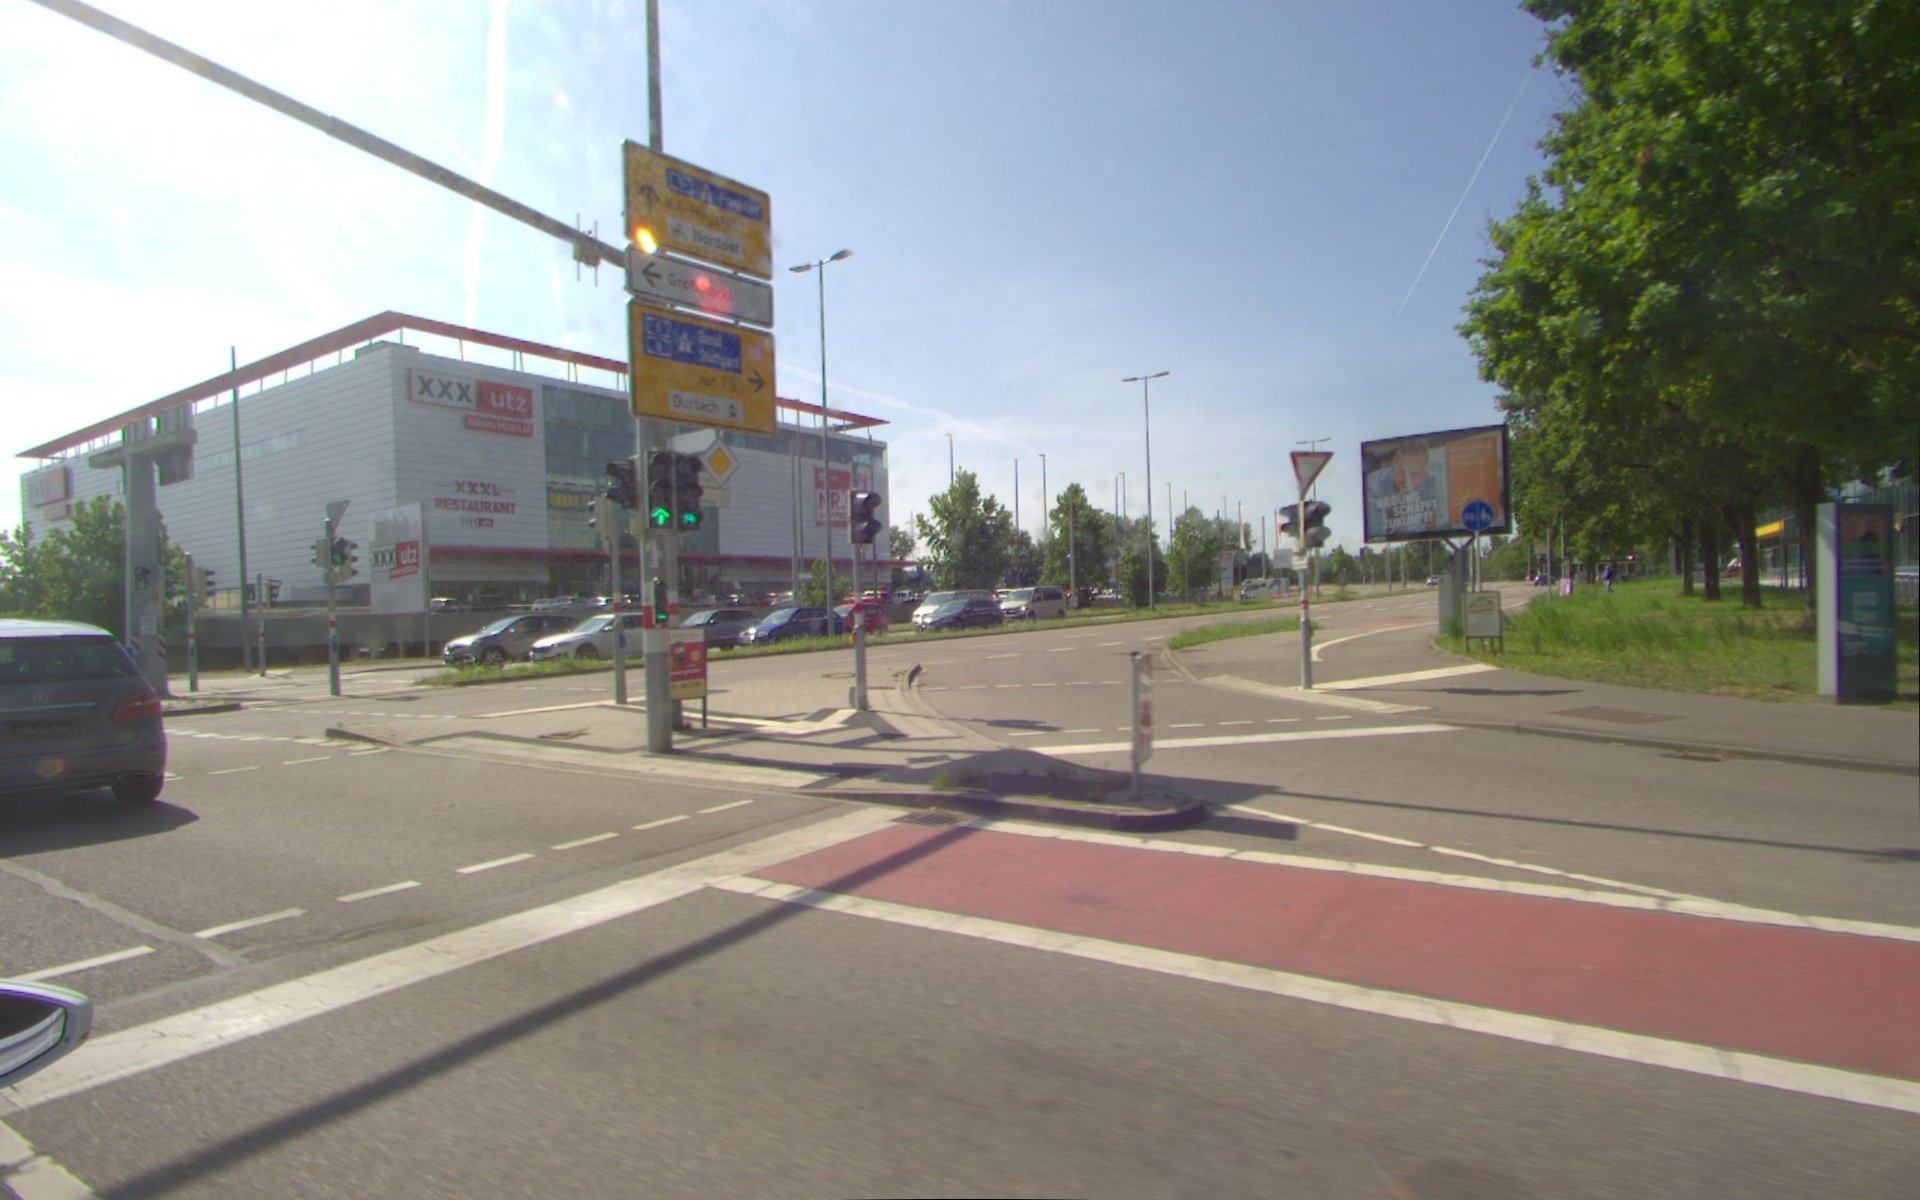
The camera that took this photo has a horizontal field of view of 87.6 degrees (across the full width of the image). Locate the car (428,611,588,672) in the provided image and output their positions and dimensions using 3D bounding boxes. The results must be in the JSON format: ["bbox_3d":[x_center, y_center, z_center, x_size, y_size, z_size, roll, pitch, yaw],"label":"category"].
[{"bbox_3d":[-13.195,1.179,29.408,1.785,1.579,3.871,-2,0,36],"label":"car"}]

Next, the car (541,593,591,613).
[{"bbox_3d":[-31.633,0.261,80.402,3.951,1.438,1.795,-2,0,33],"label":"car"}]

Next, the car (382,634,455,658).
[{"bbox_3d":[-37.134,3.153,68.784,1.772,1.542,4.108,-2,-2,28],"label":"car"}]

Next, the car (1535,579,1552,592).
[{"bbox_3d":[76.861,-1.880,131.837,1.619,1.555,3.892,-2,0,35],"label":"car"}]

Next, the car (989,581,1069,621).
[{"bbox_3d":[3.662,0.041,52.442,1.890,1.960,4.759,-3,-1,35],"label":"car"}]

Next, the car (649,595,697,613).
[{"bbox_3d":[-25.516,0.385,88.879,4.144,1.438,1.894,-2,0,35],"label":"car"}]

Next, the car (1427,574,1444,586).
[{"bbox_3d":[75.237,-3.125,158.511,1.858,1.706,3.975,-2,2,33],"label":"car"}]

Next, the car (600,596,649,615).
[{"bbox_3d":[-28.509,0.485,84.972,4.144,1.438,1.866,-2,0,35],"label":"car"}]

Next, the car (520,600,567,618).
[{"bbox_3d":[-35.972,0.797,86.455,3.858,1.438,1.682,-2,0,30],"label":"car"}]

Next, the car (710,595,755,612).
[{"bbox_3d":[-21.483,0.361,94.531,4.144,1.438,1.730,-2,0,35],"label":"car"}]

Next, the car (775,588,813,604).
[{"bbox_3d":[-18.218,-0.396,109.685,4.144,1.642,1.679,-2,0,35],"label":"car"}]

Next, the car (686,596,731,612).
[{"bbox_3d":[-23.312,0.372,92.708,4.144,1.438,1.799,-2,0,35],"label":"car"}]

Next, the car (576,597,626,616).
[{"bbox_3d":[-29.538,0.560,82.300,4.144,1.438,1.826,-2,0,35],"label":"car"}]

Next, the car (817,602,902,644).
[{"bbox_3d":[-4.090,0.913,41.208,1.578,1.596,3.457,-1,0,36],"label":"car"}]

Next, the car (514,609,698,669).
[{"bbox_3d":[-10.047,1.083,28.750,1.934,1.444,4.701,-3,-1,35],"label":"car"}]

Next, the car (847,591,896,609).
[{"bbox_3d":[-7.826,0.025,88.634,4.052,1.438,1.783,-2,0,33],"label":"car"}]

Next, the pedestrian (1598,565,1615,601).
[{"bbox_3d":[37.725,-0.982,58.431,0.670,2.039,0.600,-2,-2,19],"label":"pedestrian"}]

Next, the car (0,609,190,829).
[{"bbox_3d":[-8.404,0.897,8.449,4.080,1.559,1.770,-2,-1,33],"label":"car"}]

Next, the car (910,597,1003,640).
[{"bbox_3d":[-0.092,0.750,41.495,1.663,1.641,4.101,-2,0,37],"label":"car"}]

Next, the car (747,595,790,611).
[{"bbox_3d":[-18.985,0.270,98.983,4.144,1.438,1.784,-2,0,35],"label":"car"}]

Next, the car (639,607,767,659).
[{"bbox_3d":[-8.909,1.125,34.954,1.884,1.528,4.015,-3,0,35],"label":"car"}]

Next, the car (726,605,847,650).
[{"bbox_3d":[-5.854,0.917,34.121,1.701,1.359,4.032,-3,-1,35],"label":"car"}]

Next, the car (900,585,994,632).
[{"bbox_3d":[-0.566,0.357,46.887,1.938,2.001,4.658,-4,-1,36],"label":"car"}]

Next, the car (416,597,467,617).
[{"bbox_3d":[-39.938,0.526,77.103,4.144,1.438,1.765,-2,0,35],"label":"car"}]
